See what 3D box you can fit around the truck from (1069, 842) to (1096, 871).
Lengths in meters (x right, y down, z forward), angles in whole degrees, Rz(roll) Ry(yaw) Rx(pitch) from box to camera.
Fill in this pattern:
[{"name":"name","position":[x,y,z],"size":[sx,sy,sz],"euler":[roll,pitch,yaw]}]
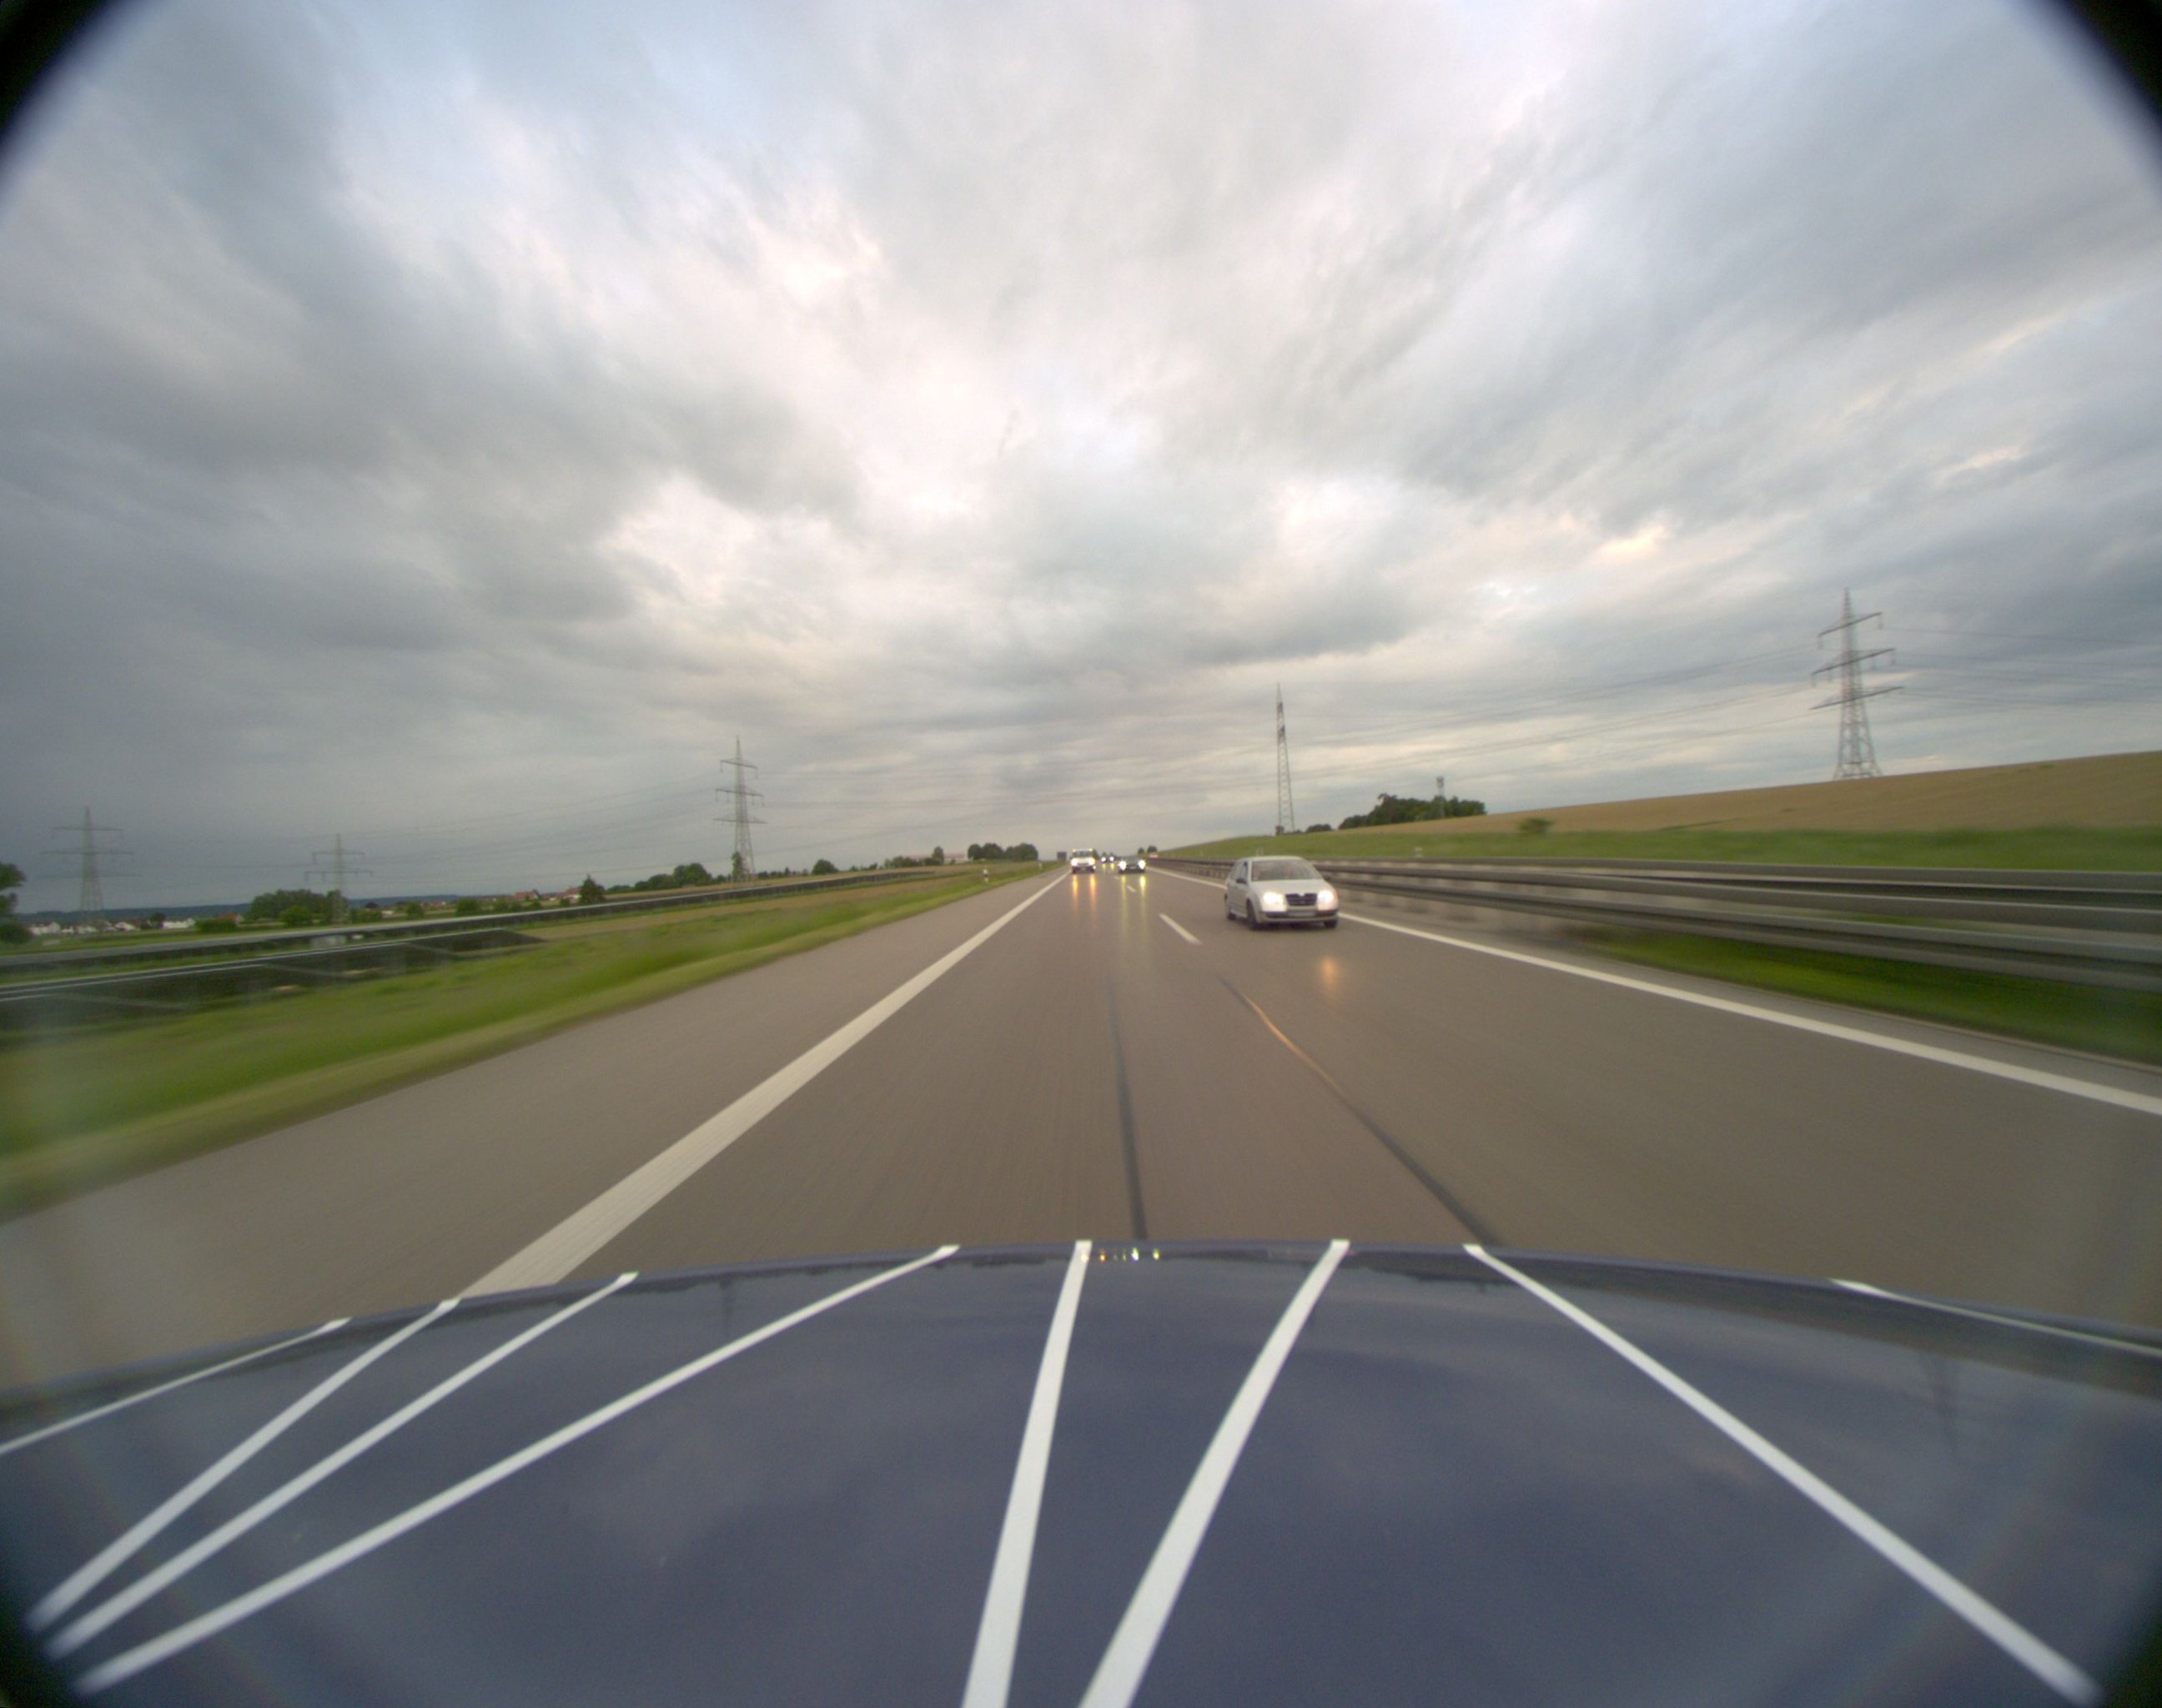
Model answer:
[{"name":"truck","position":[0.169,0.229,70.255],"size":[2.177,2.346,7.696],"euler":[-5,0,0]}]

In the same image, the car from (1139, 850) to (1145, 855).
[{"name":"car","position":[19.983,-0.494,248.430],"size":[1.678,1.352,4.011],"euler":[-6,0,0]}]

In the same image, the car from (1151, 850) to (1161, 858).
[{"name":"car","position":[17.117,0.065,172.946],"size":[1.795,1.689,4.590],"euler":[-5,0,1]}]

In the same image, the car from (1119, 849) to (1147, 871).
[{"name":"car","position":[4.111,0.453,61.012],"size":[1.951,1.620,4.536],"euler":[-3,0,1]}]

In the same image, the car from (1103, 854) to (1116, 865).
[{"name":"car","position":[5.319,0.999,140.836],"size":[1.999,2.002,4.461],"euler":[-5,0,-1]}]

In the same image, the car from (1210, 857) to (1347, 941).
[{"name":"car","position":[3.920,0.816,15.839],"size":[1.592,1.381,4.601],"euler":[-2,0,0]}]
